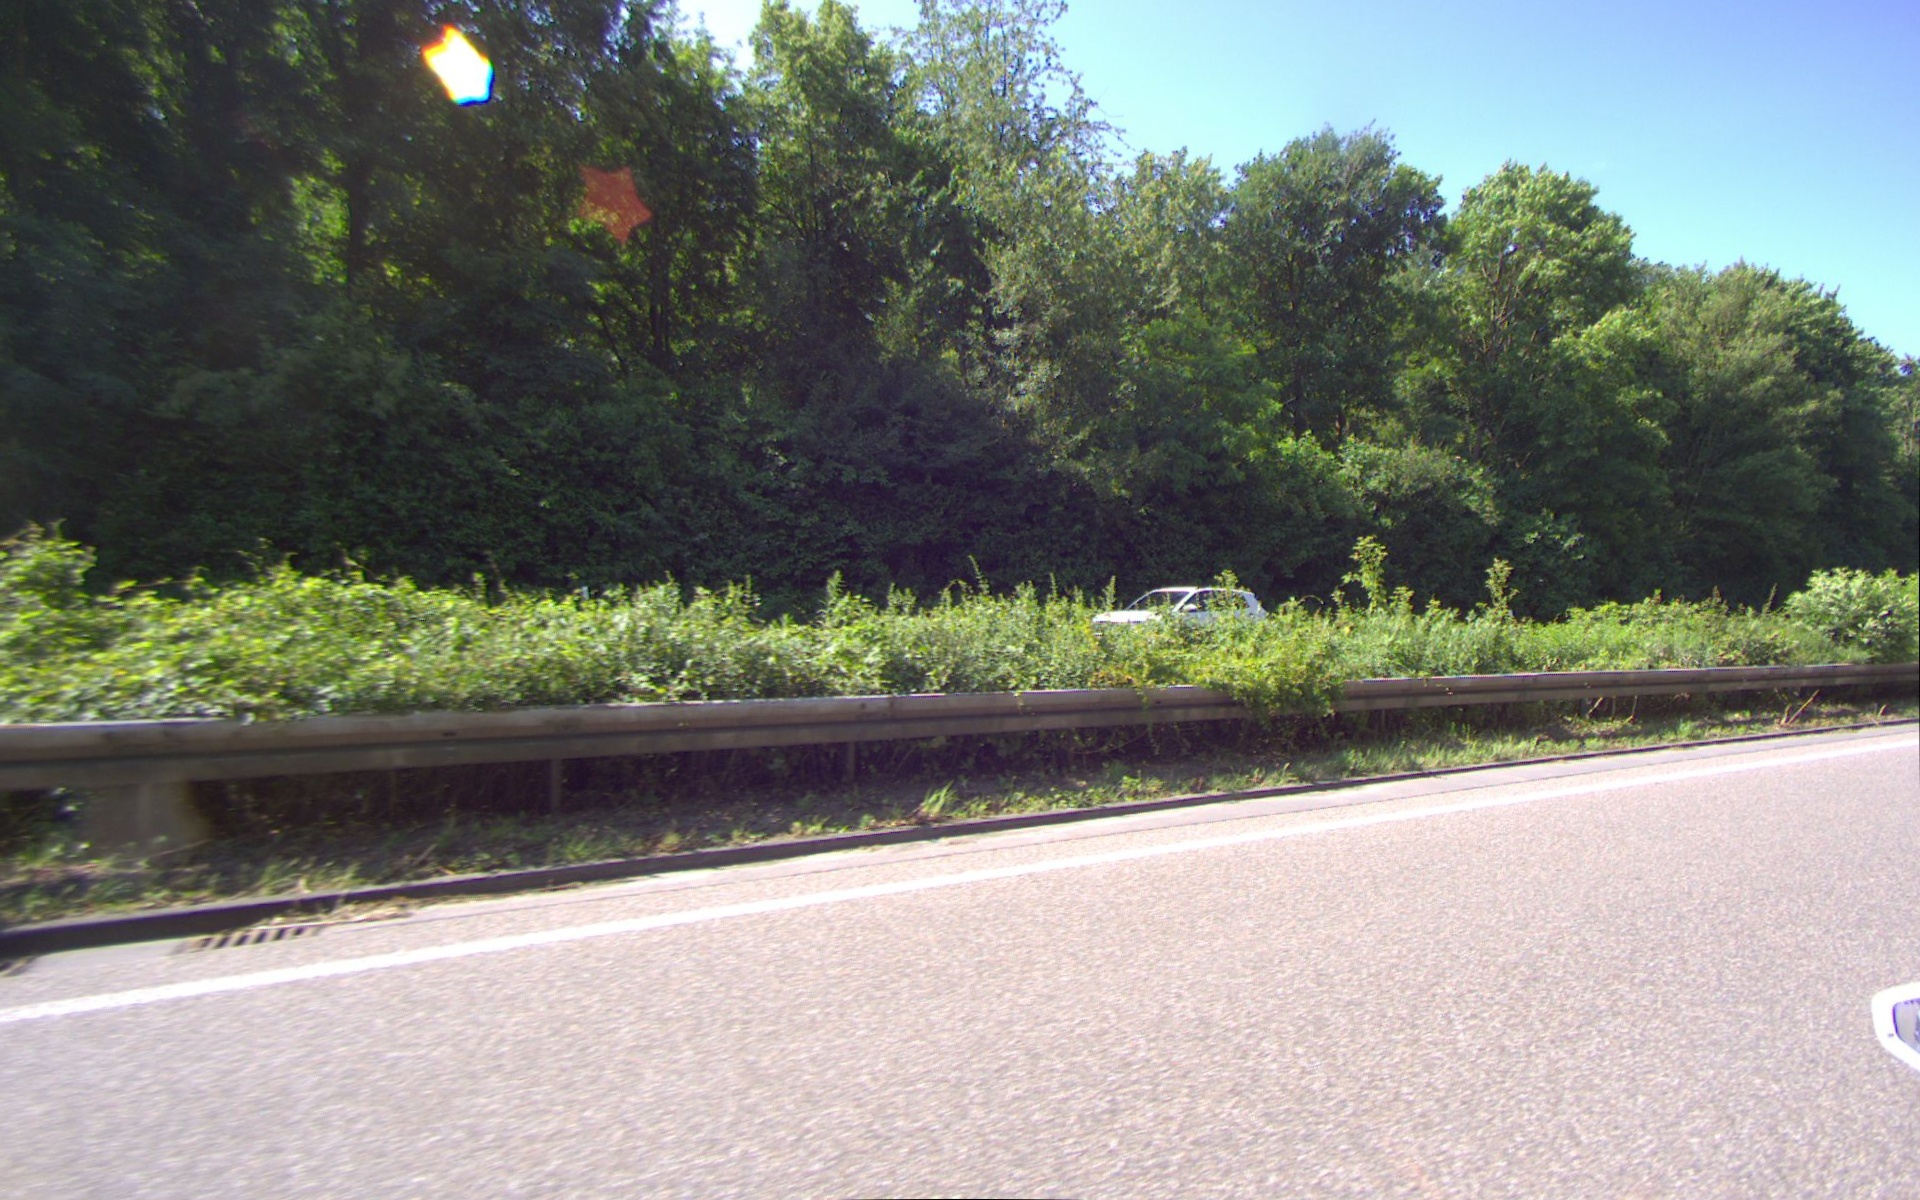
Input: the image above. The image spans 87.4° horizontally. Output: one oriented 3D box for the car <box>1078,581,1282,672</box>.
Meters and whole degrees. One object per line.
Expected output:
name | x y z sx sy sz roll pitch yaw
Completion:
car | 4.463 0.524 20.225 3.955 1.684 1.684 1 0 -31
